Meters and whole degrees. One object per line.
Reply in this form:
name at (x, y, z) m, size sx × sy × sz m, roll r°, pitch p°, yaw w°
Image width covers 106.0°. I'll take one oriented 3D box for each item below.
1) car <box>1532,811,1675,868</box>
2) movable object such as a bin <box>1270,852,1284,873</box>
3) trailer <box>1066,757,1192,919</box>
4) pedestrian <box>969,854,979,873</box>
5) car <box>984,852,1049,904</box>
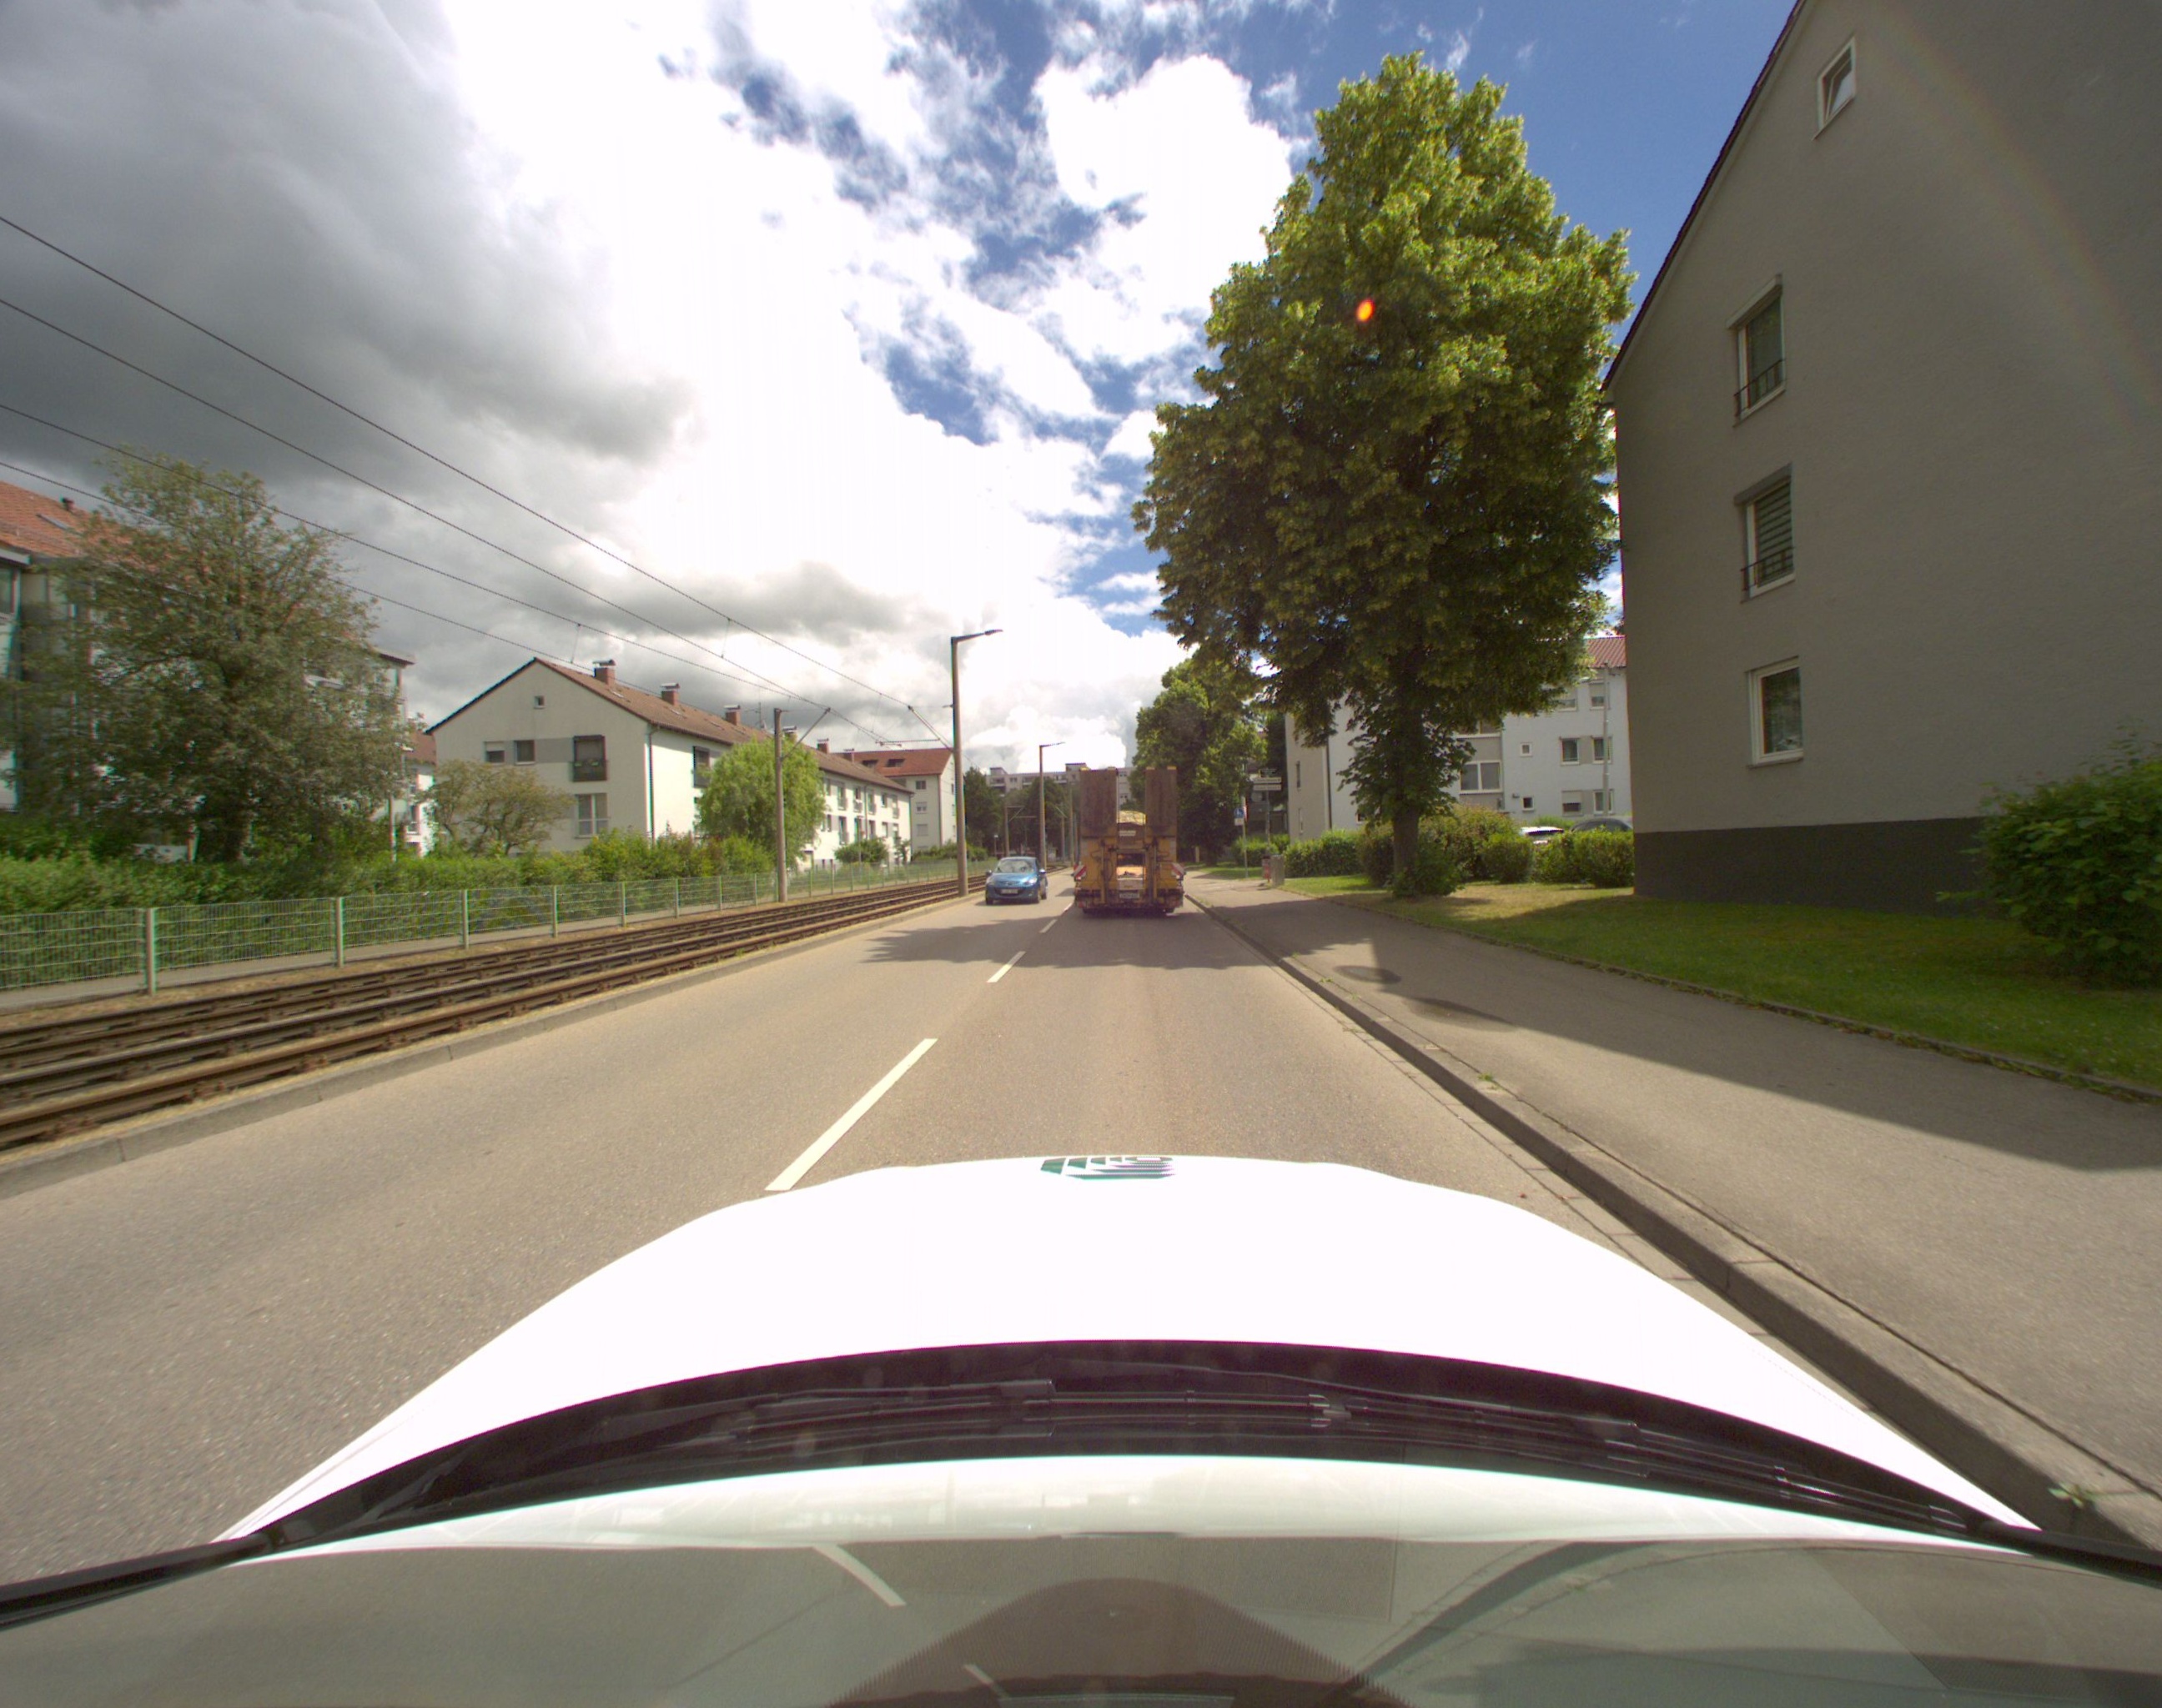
car at (14.095, -0.352, 22.219) m, size 1.668 × 1.416 × 3.746 m, roll -1°, pitch 0°, yaw 3°
movable object such as a bin at (9.165, 0.404, 38.177) m, size 0.494 × 0.955 × 0.581 m, roll -3°, pitch -1°, yaw 3°
trailer at (1.168, -0.335, 24.678) m, size 2.817 × 3.646 × 12.354 m, roll -1°, pitch 0°, yaw 1°
pedestrian at (-10.398, 0.929, 79.146) m, size 0.656 × 1.849 × 0.769 m, roll -3°, pitch -1°, yaw 3°
car at (-2.038, 0.745, 26.453) m, size 1.617 × 1.525 × 3.583 m, roll -2°, pitch 0°, yaw 3°
